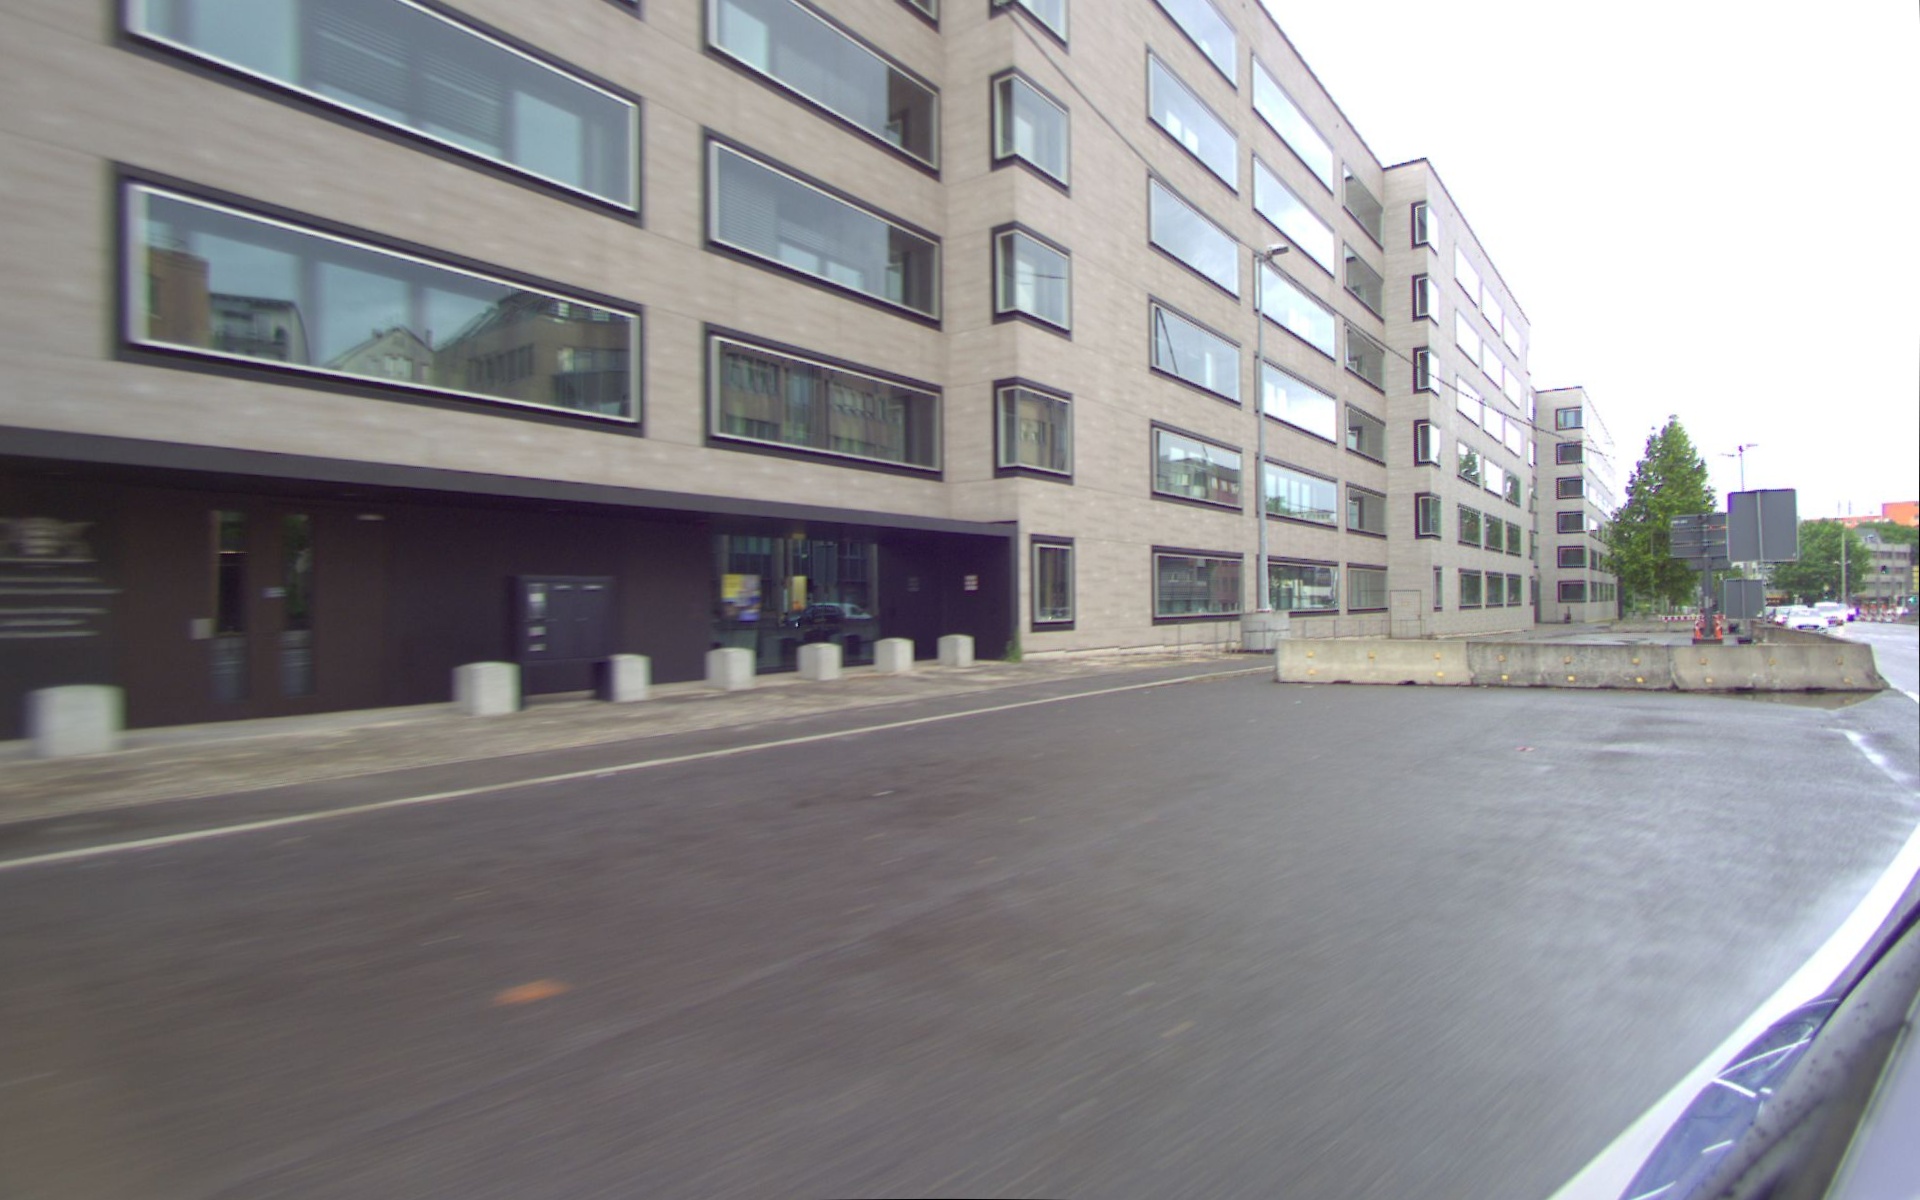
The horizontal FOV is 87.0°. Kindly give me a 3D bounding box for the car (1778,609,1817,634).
[{"bbox_3d":[56.261,1.421,68.057,1.763,1.553,4.594,-1,-1,37],"label":"car"}]

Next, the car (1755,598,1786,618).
[{"bbox_3d":[65.457,0.626,81.811,1.763,1.553,4.594,-1,-1,37],"label":"car"}]

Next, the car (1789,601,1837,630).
[{"bbox_3d":[47.564,0.829,56.500,1.763,1.553,4.594,-1,-1,37],"label":"car"}]

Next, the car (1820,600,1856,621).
[{"bbox_3d":[68.225,0.823,78.677,1.763,1.553,4.594,-1,-1,37],"label":"car"}]

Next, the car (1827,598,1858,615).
[{"bbox_3d":[82.783,0.614,94.955,1.763,1.553,4.594,-1,-1,37],"label":"car"}]
